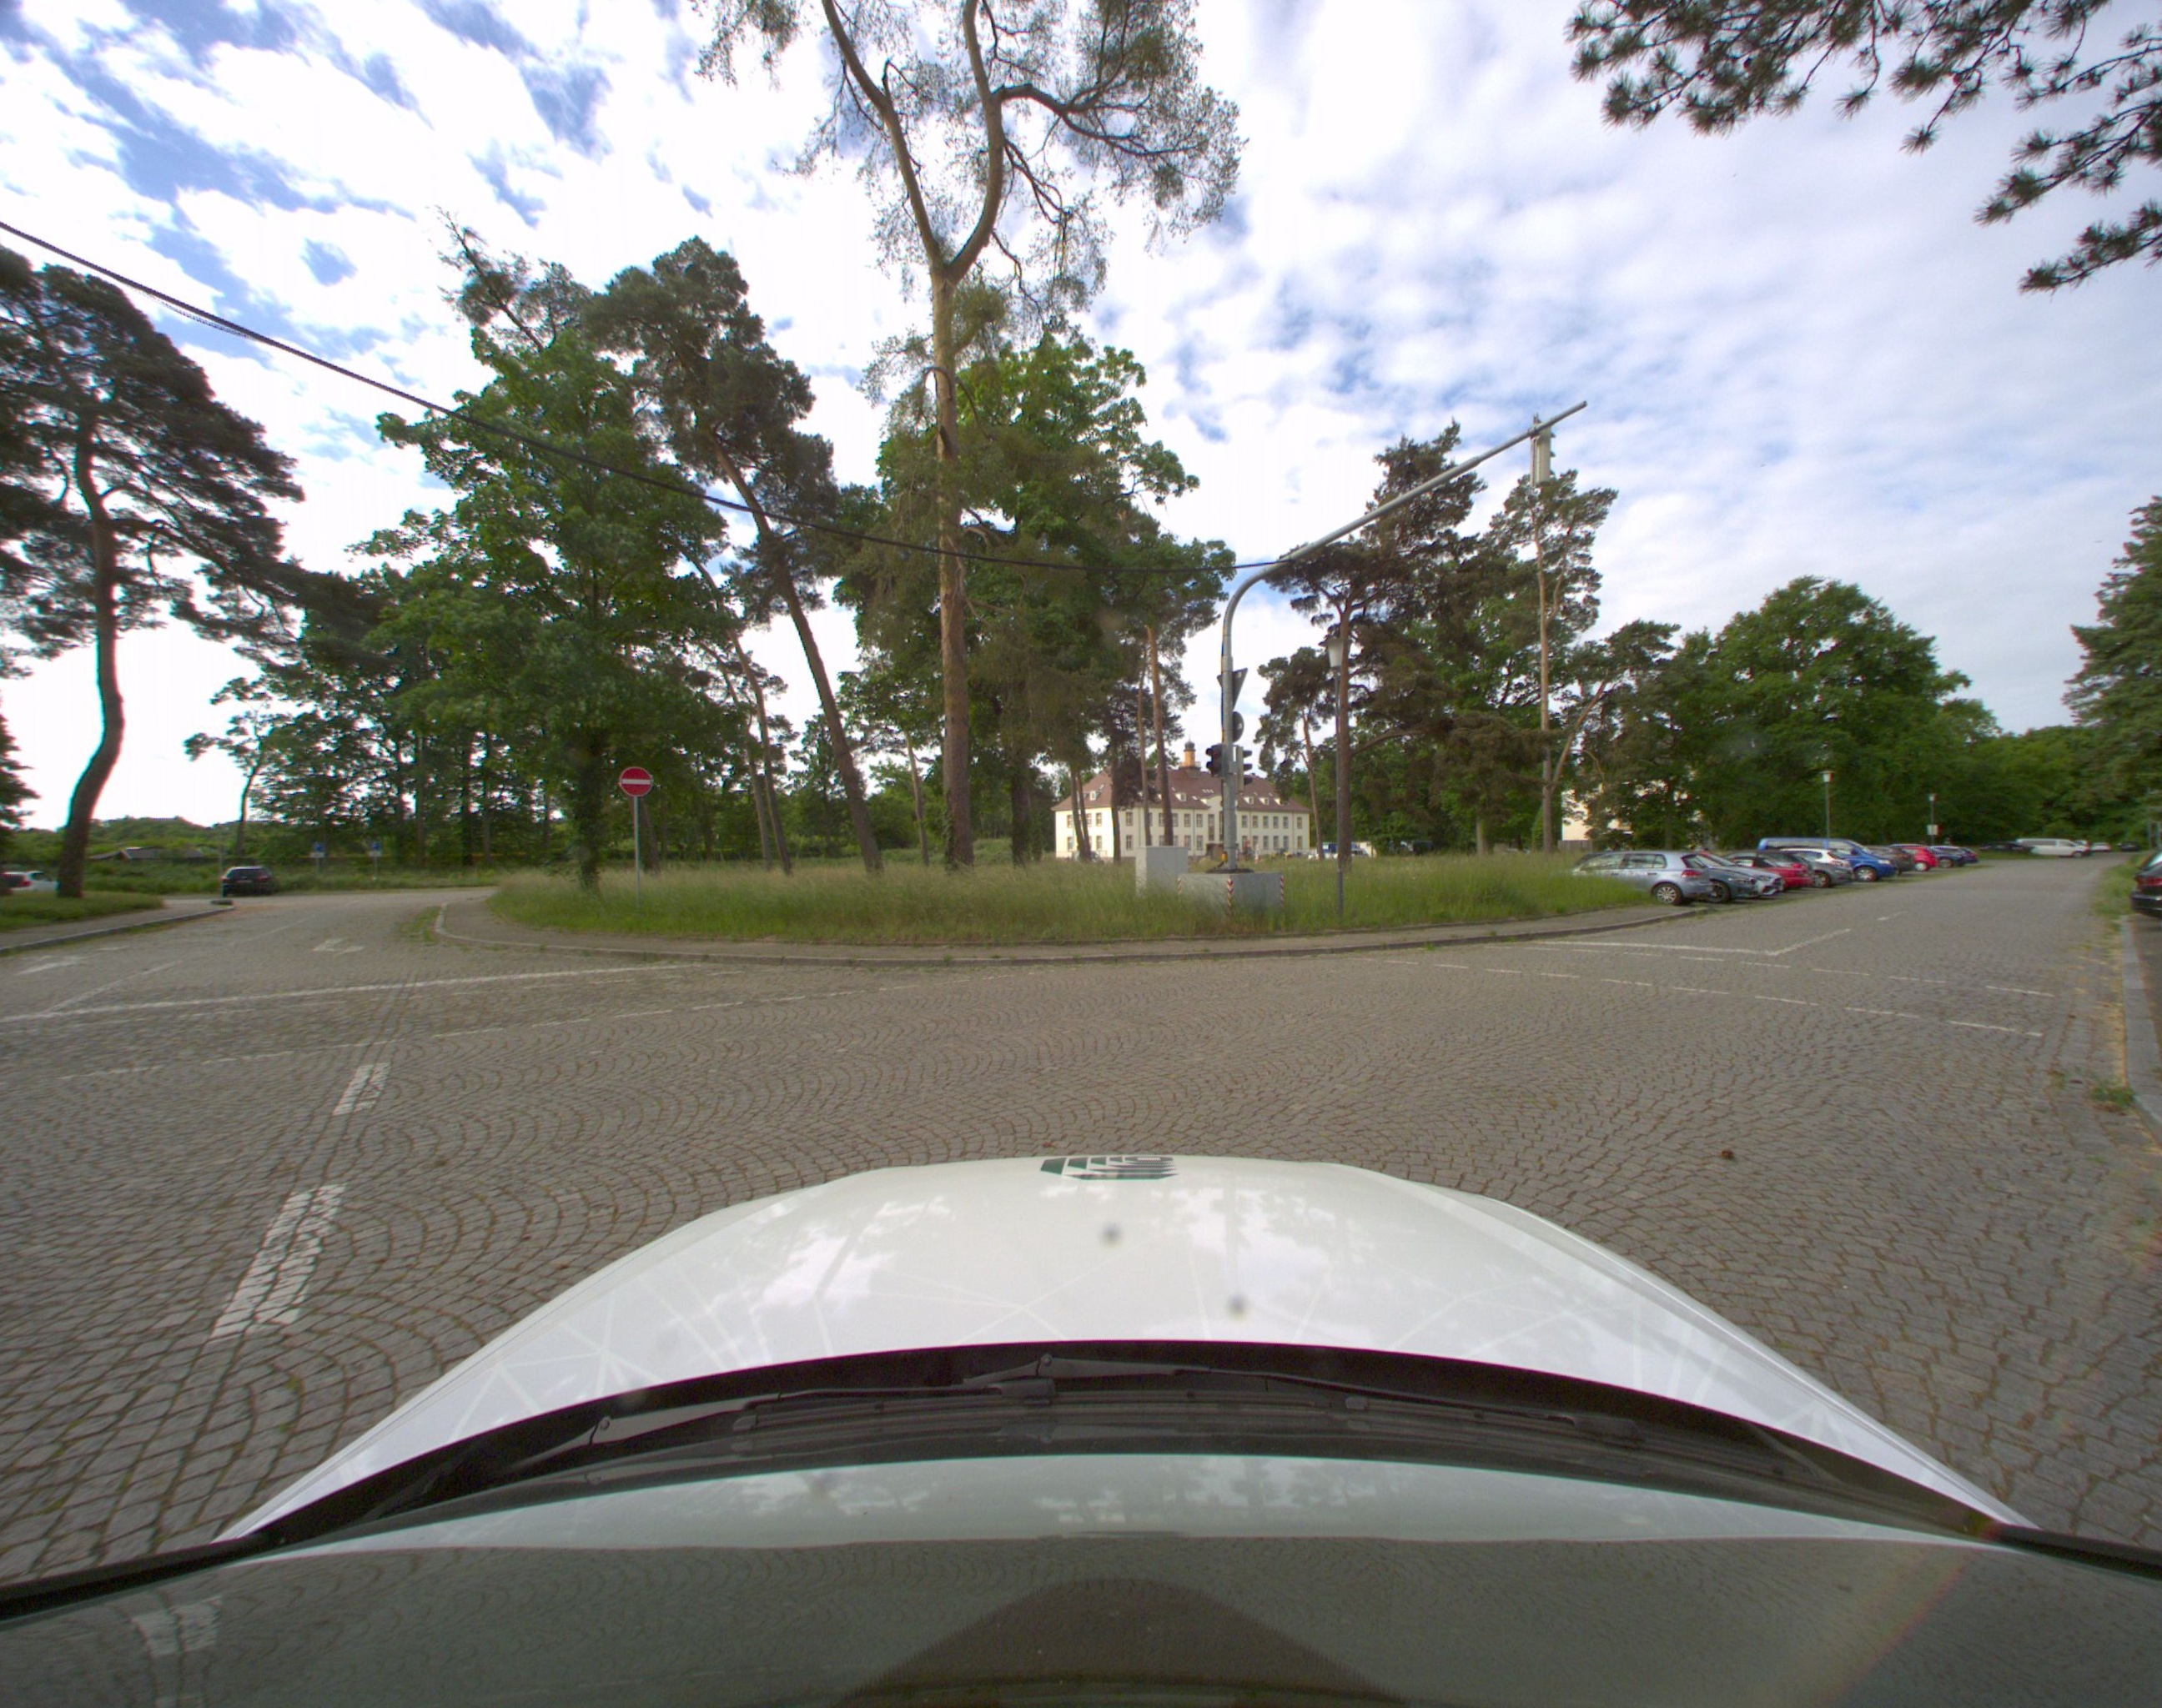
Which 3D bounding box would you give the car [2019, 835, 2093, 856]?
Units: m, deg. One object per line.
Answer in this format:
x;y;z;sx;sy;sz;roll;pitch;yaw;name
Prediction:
102.431;-0.888;85.565;2.062;2.072;4.937;1;0;-38;car

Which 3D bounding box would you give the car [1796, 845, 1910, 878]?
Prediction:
36.547;0.336;38.613;1.735;1.493;3.762;-1;1;-40;car

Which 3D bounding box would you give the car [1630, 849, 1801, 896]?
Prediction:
21.349;0.568;27.543;1.864;1.455;4.220;-1;1;-37;car

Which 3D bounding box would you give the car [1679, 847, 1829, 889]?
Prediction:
25.301;0.483;30.752;1.763;1.480;4.056;-1;1;-36;car

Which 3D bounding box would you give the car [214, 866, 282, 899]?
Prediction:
-43.459;1.462;42.586;1.724;1.610;4.014;1;-1;-35;car

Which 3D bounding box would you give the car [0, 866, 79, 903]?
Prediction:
-49.736;1.411;38.556;1.723;1.610;4.015;1;-1;-33;car

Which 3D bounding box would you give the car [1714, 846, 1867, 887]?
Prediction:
27.888;0.442;32.131;1.738;1.480;4.271;-1;1;-36;car

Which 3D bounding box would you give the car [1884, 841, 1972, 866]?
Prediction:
57.620;-0.039;55.441;1.796;1.604;4.038;-1;1;-39;car

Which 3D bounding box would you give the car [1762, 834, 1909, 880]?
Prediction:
34.341;0.104;37.193;2.048;1.980;4.671;-1;1;-38;car

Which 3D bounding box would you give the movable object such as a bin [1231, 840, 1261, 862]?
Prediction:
28.212;-0.404;139.178;2.142;3.642;6.094;1;-1;-20;movable object such as a bin

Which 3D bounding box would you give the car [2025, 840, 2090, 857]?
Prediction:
115.931;-0.683;96.720;2.062;1.968;4.937;1;0;-38;car

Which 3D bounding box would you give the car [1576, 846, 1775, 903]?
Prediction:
17.557;0.553;24.237;1.880;1.537;4.463;0;0;-40;car

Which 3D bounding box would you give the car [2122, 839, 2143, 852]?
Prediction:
158.120;-1.278;122.452;4.081;1.720;1.775;1;-2;-39;car

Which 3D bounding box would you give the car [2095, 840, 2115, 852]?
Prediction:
156.297;-1.211;124.331;4.081;1.636;1.775;1;-2;-39;car

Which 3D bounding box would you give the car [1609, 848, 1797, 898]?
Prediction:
19.662;0.540;25.927;1.958;1.455;4.402;0;0;-37;car

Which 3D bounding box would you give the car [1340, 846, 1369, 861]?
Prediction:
41.054;-0.066;122.363;4.365;2.095;2.045;1;-2;-38;car

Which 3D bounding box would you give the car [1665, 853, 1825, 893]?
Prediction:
23.388;0.605;28.816;1.772;1.283;4.098;-1;1;-37;car

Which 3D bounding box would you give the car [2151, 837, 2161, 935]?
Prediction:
18.426;0.407;11.177;1.837;1.575;4.290;0;-3;-42;car

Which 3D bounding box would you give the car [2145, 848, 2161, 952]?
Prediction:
16.381;0.514;9.589;1.836;1.426;4.510;0;-3;-40;car

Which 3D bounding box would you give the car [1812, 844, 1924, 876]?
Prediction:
41.291;0.270;42.783;1.964;1.575;4.034;-1;1;-38;car

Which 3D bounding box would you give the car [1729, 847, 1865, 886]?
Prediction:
29.952;0.486;34.177;1.851;1.501;3.974;-1;1;-36;car

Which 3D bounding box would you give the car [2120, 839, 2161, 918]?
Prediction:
22.309;0.383;15.017;1.752;1.480;3.739;-2;-2;-40;car

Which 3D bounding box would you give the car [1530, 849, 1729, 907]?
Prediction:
15.270;0.609;22.885;1.835;1.470;4.296;0;0;-36;car

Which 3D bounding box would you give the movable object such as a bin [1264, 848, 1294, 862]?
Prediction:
32.892;0.246;135.452;2.388;2.254;4.476;1;-1;-32;movable object such as a bin

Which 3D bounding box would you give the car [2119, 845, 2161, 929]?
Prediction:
20.334;0.459;13.130;1.805;1.406;4.329;-2;-2;-39;car

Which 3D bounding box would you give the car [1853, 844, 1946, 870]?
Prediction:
49.408;0.155;49.228;1.796;1.489;3.785;-1;1;-38;car

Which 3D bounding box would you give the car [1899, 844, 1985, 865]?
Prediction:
61.460;0.022;58.187;1.632;1.467;4.042;-1;1;-34;car
